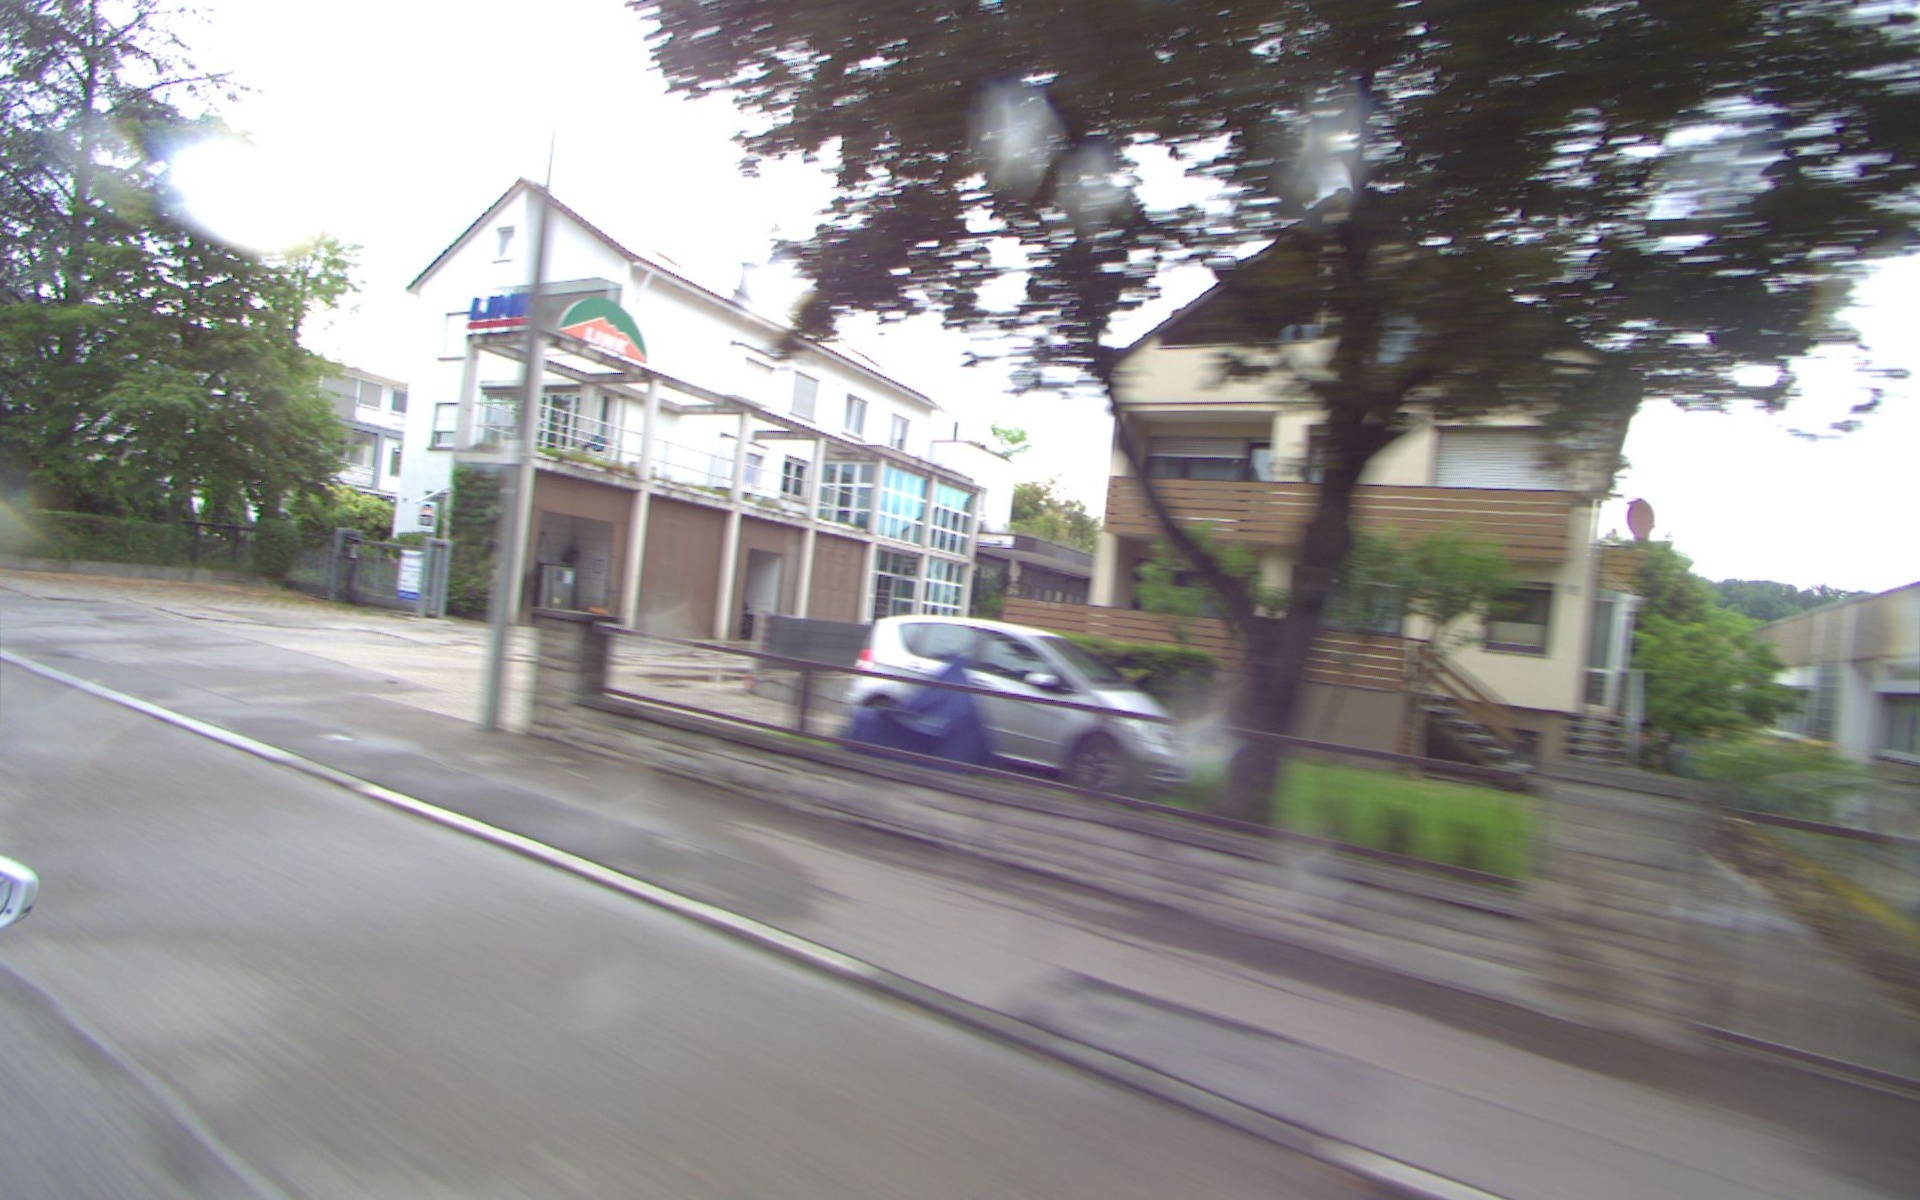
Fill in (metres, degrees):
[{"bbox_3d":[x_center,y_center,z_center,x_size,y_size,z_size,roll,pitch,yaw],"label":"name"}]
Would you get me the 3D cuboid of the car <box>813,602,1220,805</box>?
[{"bbox_3d":[0.599,1.041,11.205,4.046,1.506,1.748,7,-1,27],"label":"car"}]
